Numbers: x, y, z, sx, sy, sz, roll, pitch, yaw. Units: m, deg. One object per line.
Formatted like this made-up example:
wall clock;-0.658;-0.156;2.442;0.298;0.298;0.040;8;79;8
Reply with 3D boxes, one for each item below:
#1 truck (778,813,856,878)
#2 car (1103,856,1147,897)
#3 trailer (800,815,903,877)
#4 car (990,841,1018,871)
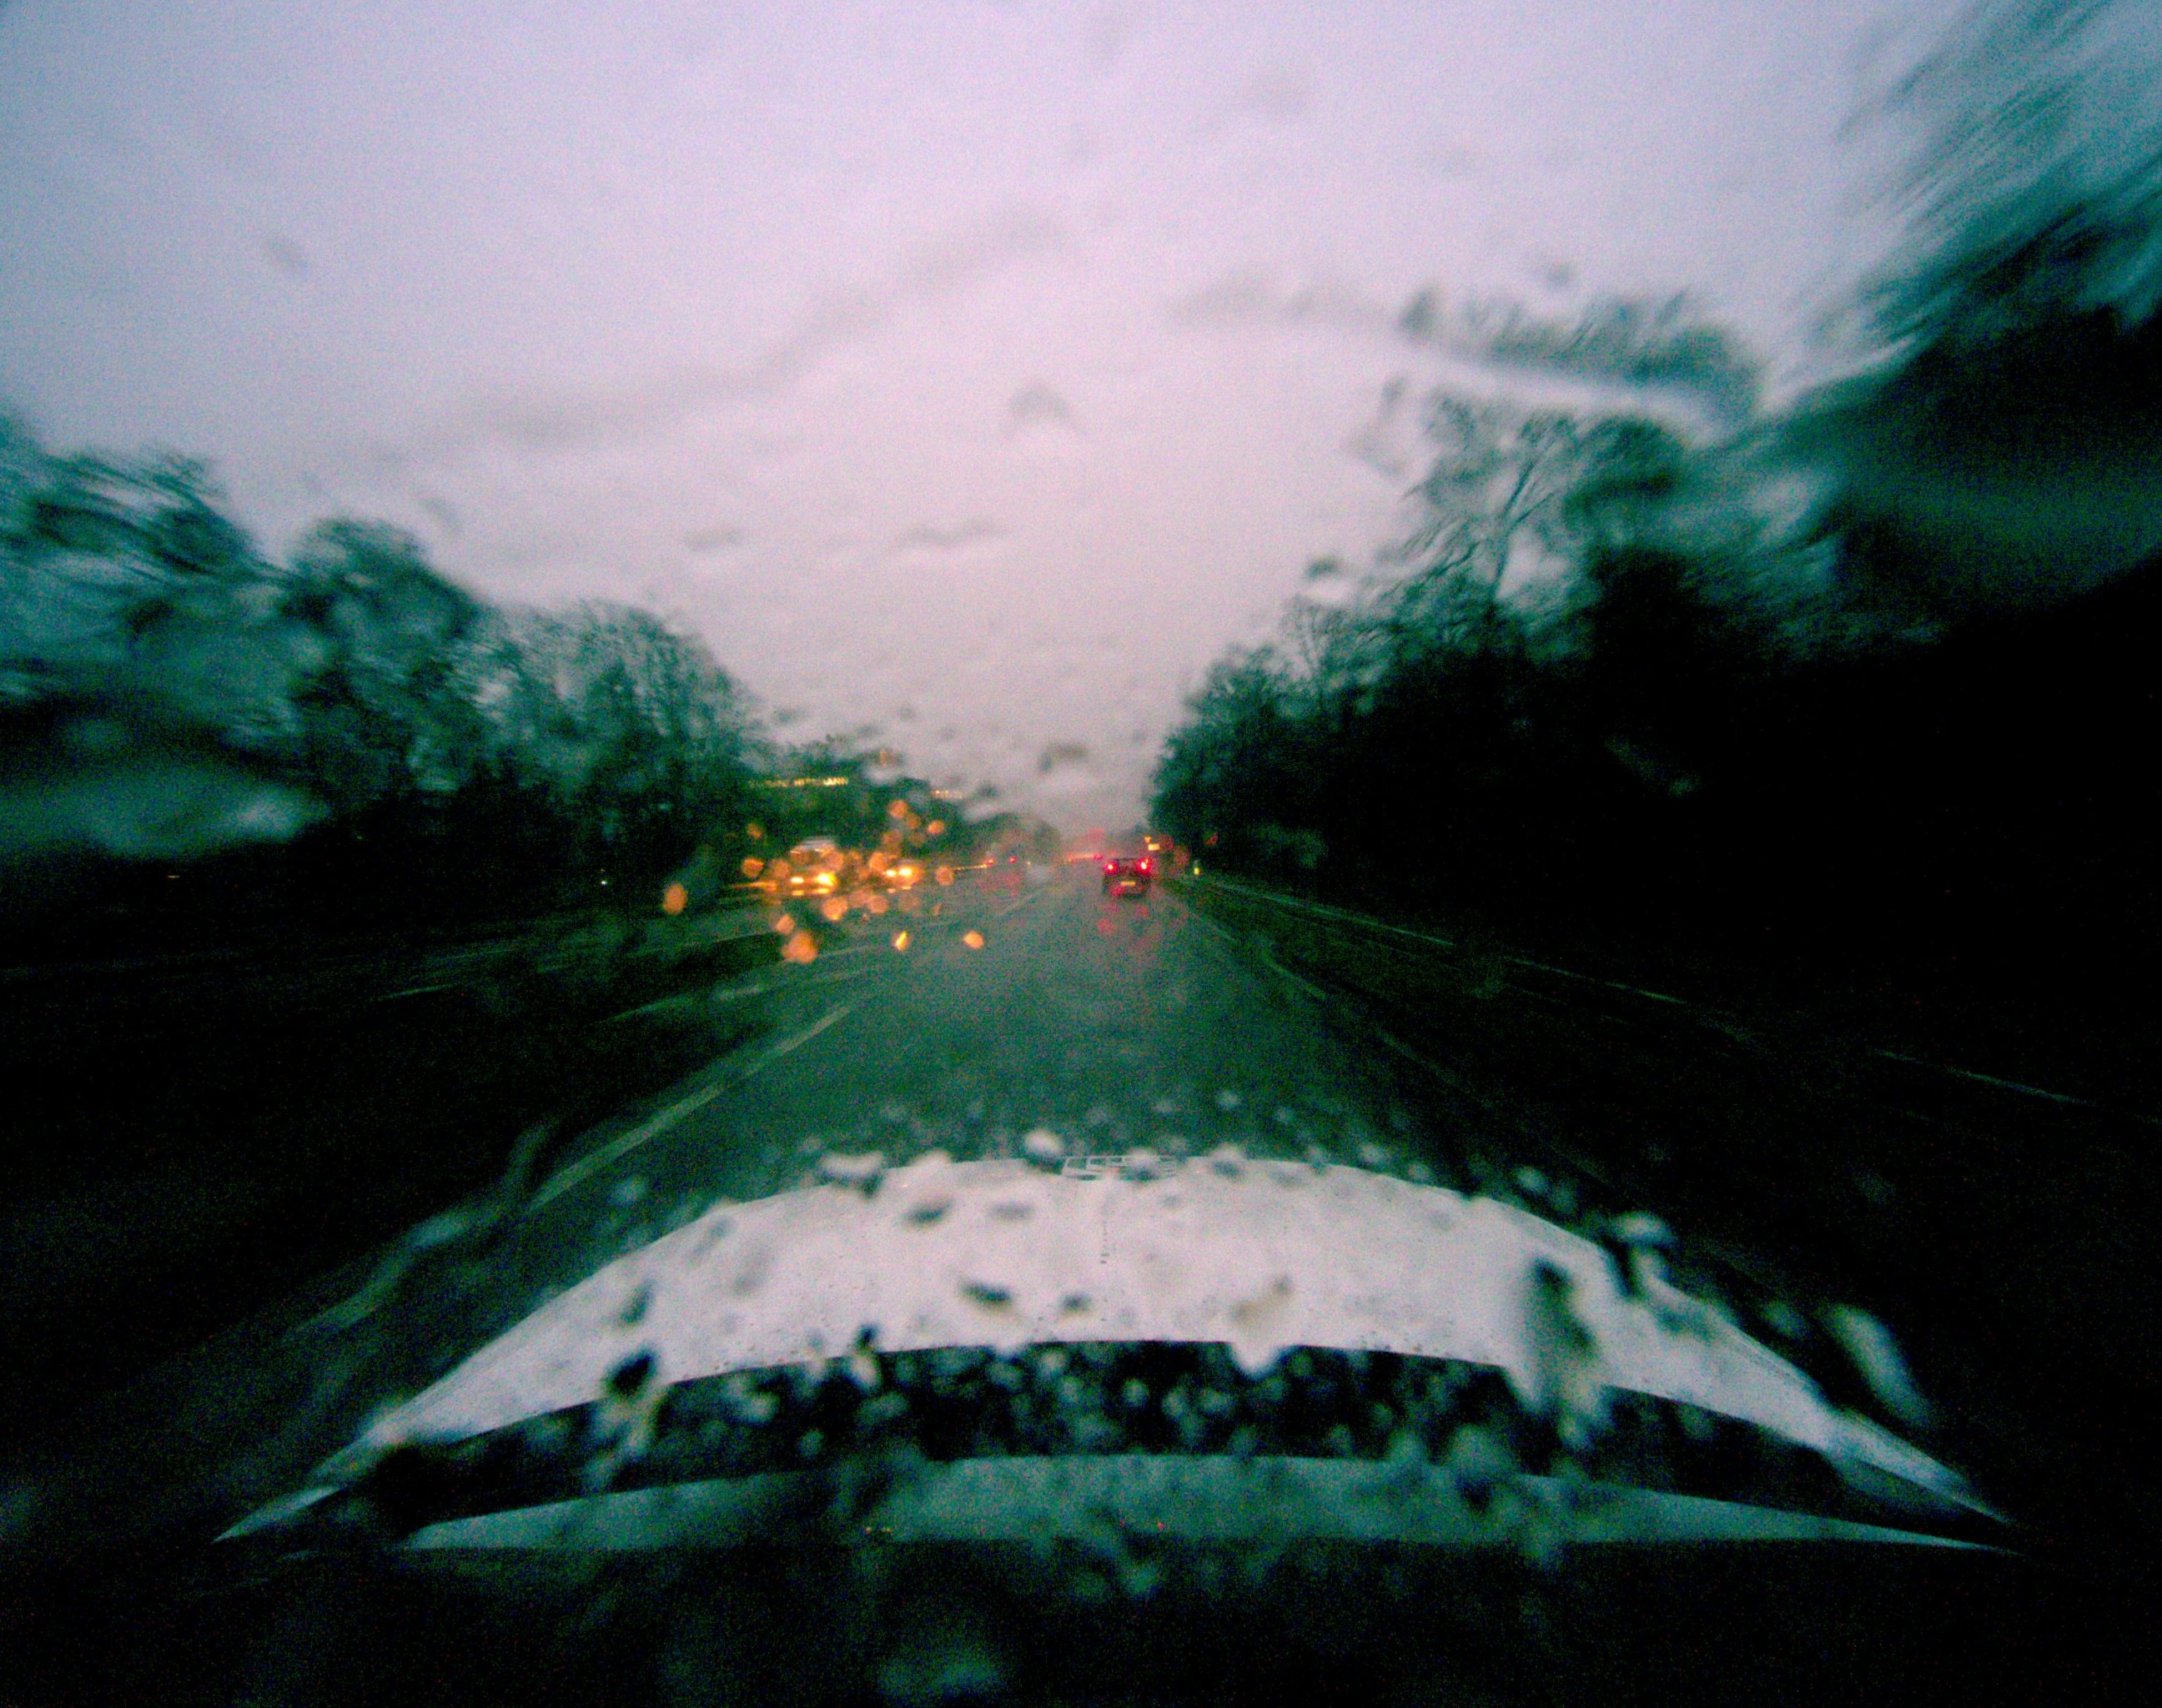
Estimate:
truck;-20.638;-0.624;64.049;3.470;4.847;6.044;0;0;8
car;1.622;0.803;30.274;1.521;1.416;3.481;0;0;2
trailer;-19.660;-0.607;71.114;3.470;4.847;13.509;0;0;8
car;-6.459;0.171;68.647;1.994;2.453;4.000;0;0;0
